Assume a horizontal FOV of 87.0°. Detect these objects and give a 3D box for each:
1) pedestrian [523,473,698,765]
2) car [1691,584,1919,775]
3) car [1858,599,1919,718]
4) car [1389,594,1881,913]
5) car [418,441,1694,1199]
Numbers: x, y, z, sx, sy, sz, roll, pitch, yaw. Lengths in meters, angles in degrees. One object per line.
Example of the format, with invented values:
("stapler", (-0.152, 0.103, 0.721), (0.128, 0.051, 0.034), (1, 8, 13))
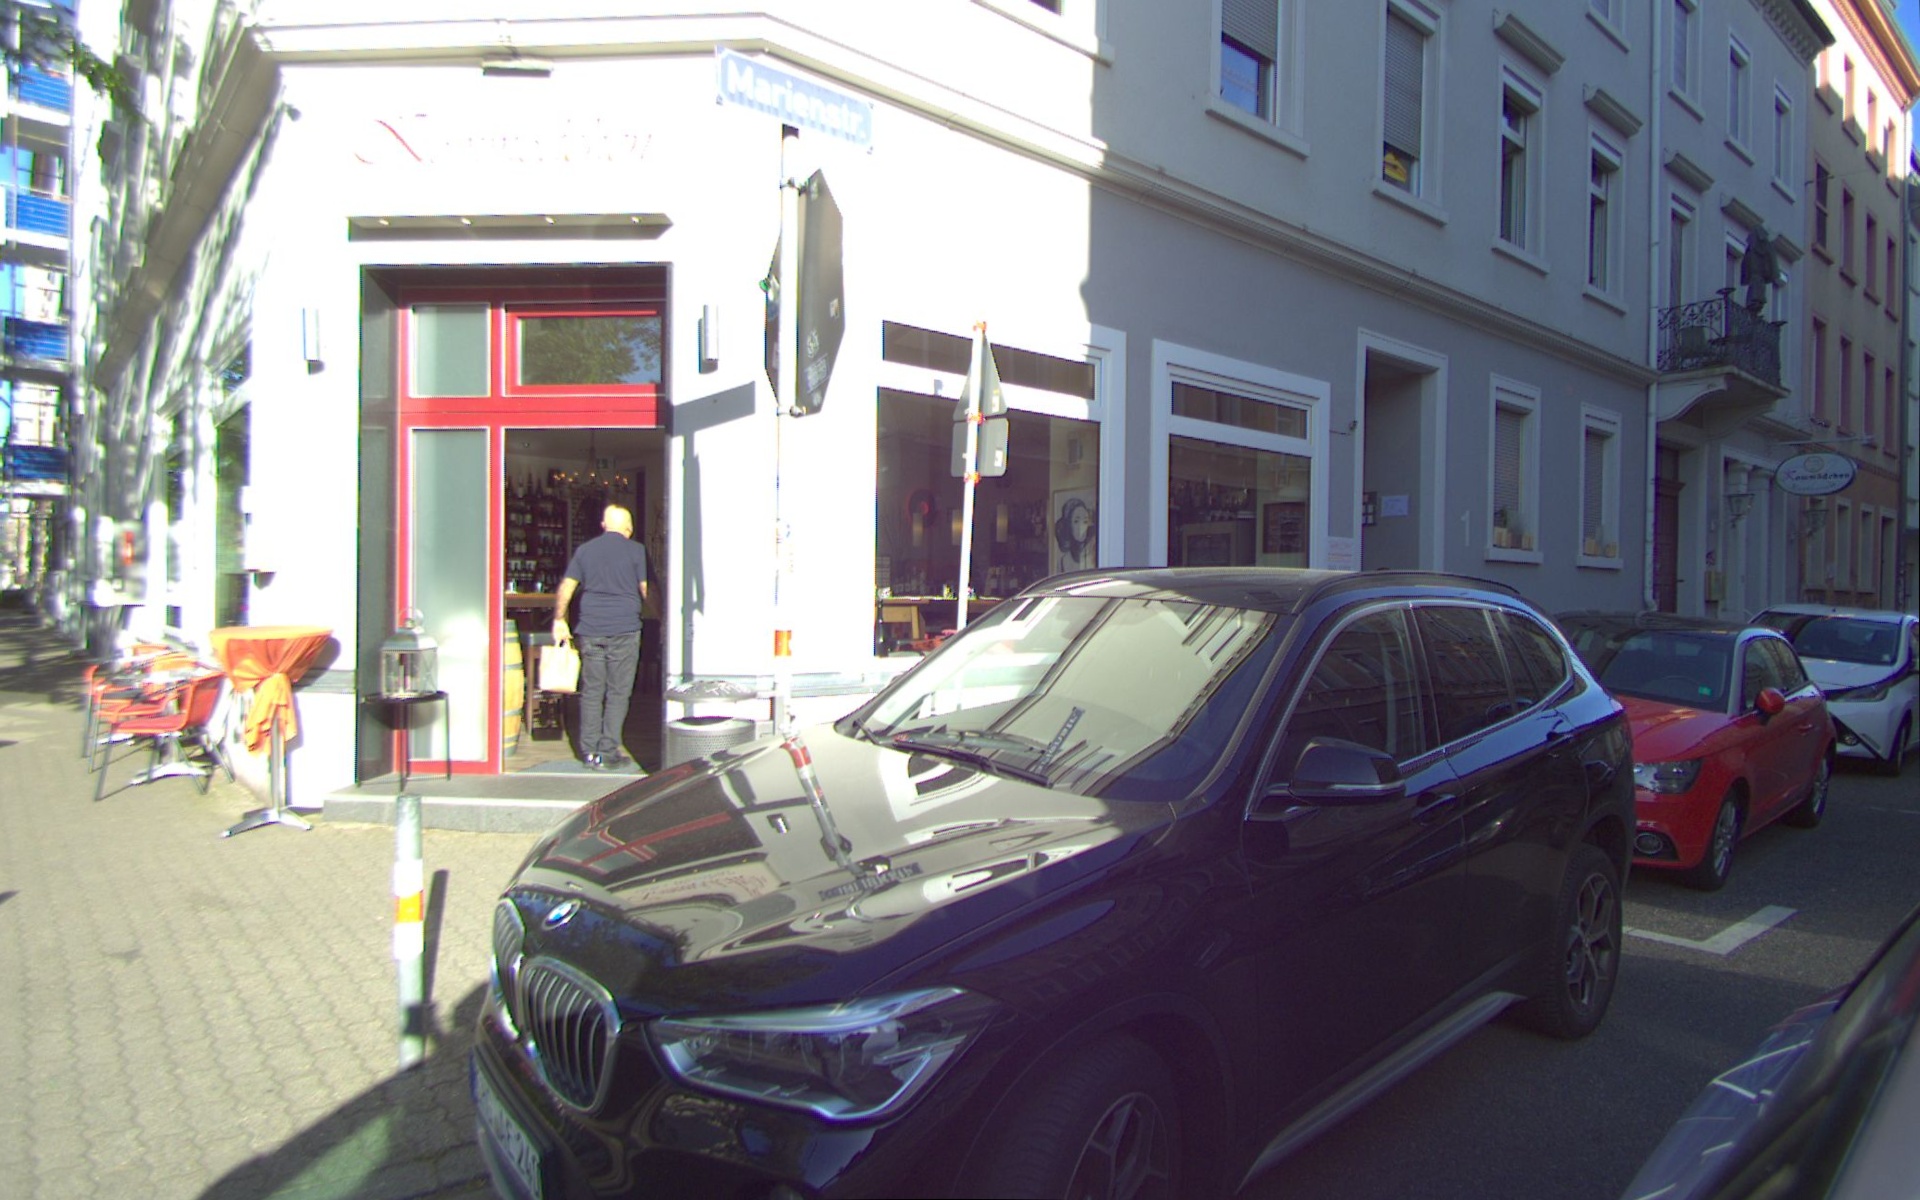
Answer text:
("pedestrian", (-2.310, 0.112, 6.793), (0.848, 1.822, 0.851), (1, 0, 1))
("car", (9.014, 0.682, 10.296), (3.720, 1.607, 1.639), (0, -1, -39))
("car", (14.097, 0.753, 14.098), (4.114, 1.530, 1.683), (0, -1, -39))
("car", (4.623, 0.751, 6.726), (3.884, 1.522, 1.648), (0, -1, -39))
("car", (0.702, 0.649, 3.321), (4.122, 1.683, 1.764), (0, -1, -39))
